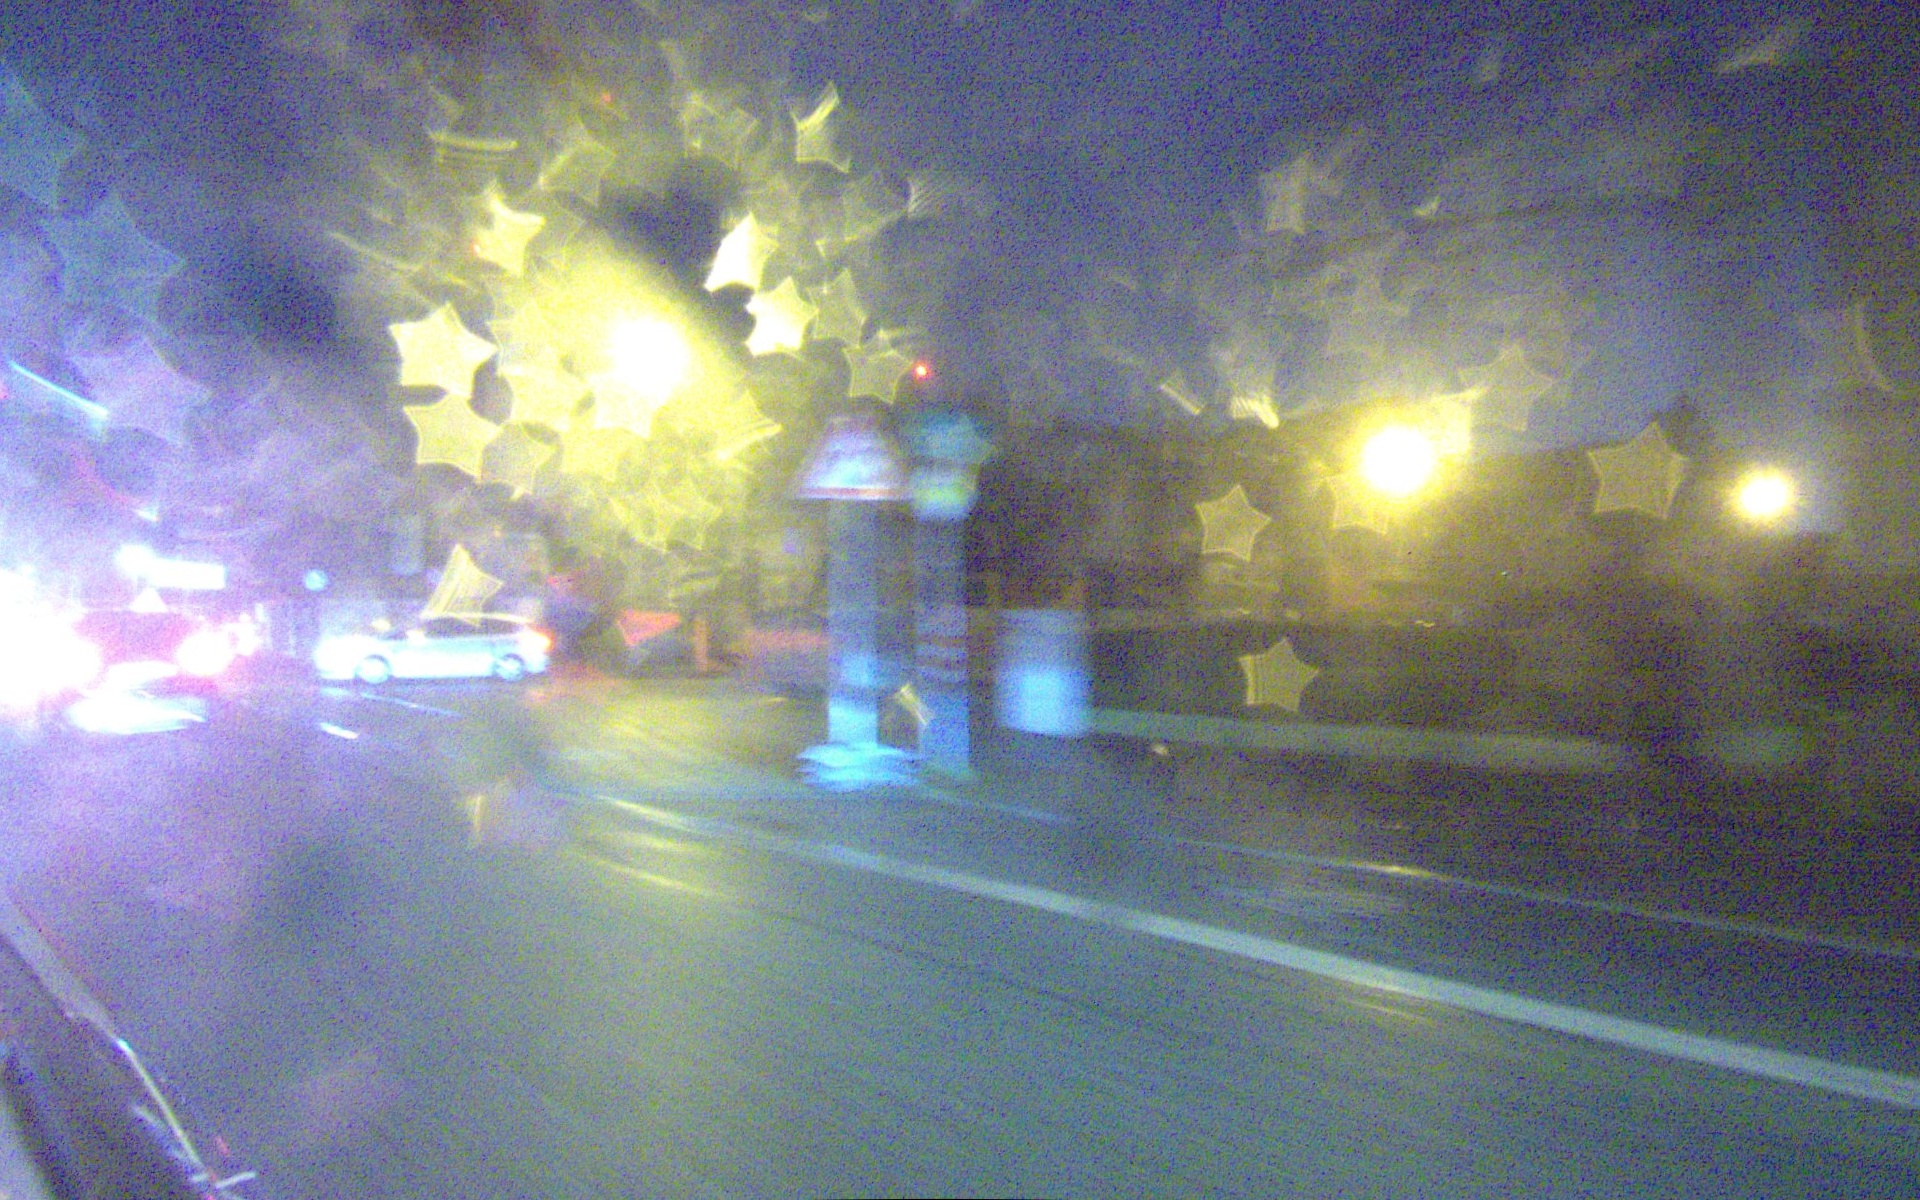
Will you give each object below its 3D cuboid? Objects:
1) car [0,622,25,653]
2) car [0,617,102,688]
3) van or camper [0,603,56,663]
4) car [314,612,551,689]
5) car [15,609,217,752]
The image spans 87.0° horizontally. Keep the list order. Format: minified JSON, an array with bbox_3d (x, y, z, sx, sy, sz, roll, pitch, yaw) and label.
[{"bbox_3d":[-46.124,1.835,48.525,1.725,1.444,4.002,2,-3,-45],"label":"car"},{"bbox_3d":[-21.507,1.166,23.655,4.579,1.472,1.776,-2,-1,44],"label":"car"},{"bbox_3d":[-35.439,1.231,37.993,4.944,2.119,1.849,-2,-3,44],"label":"van or camper"},{"bbox_3d":[-12.218,1.142,23.582,4.628,1.631,2.004,2,-3,-37],"label":"car"},{"bbox_3d":[-10.335,0.897,12.349,2.792,1.510,1.531,-2,-1,42],"label":"car"}]
